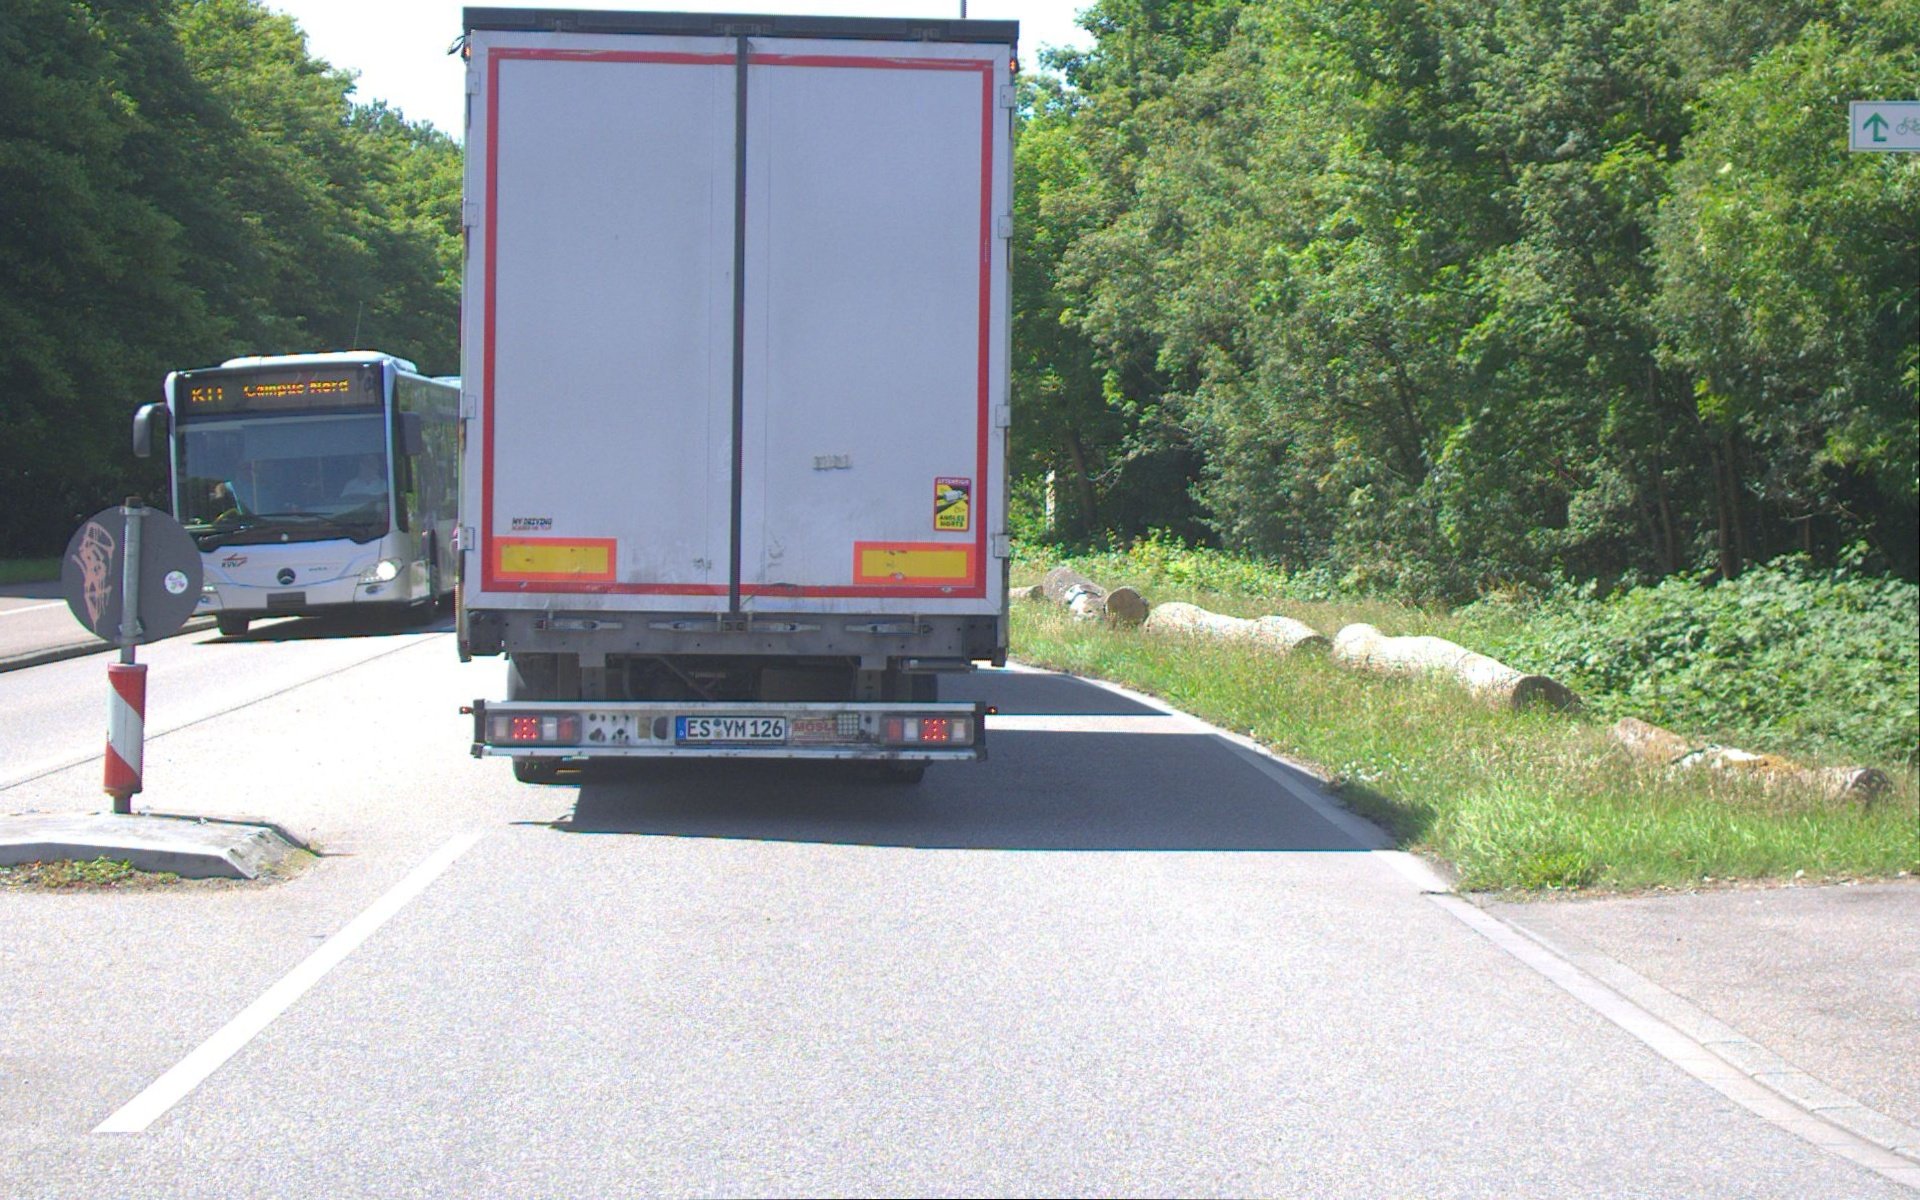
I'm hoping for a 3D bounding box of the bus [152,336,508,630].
[{"bbox_3d":[-7.457,-1.442,42.387,2.749,3.034,11.941,-2,2,-3],"label":"bus"}]

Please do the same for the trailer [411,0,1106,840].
[{"bbox_3d":[-1.338,-1.126,20.361,3.076,4.055,9.811,1,2,-5],"label":"trailer"}]
